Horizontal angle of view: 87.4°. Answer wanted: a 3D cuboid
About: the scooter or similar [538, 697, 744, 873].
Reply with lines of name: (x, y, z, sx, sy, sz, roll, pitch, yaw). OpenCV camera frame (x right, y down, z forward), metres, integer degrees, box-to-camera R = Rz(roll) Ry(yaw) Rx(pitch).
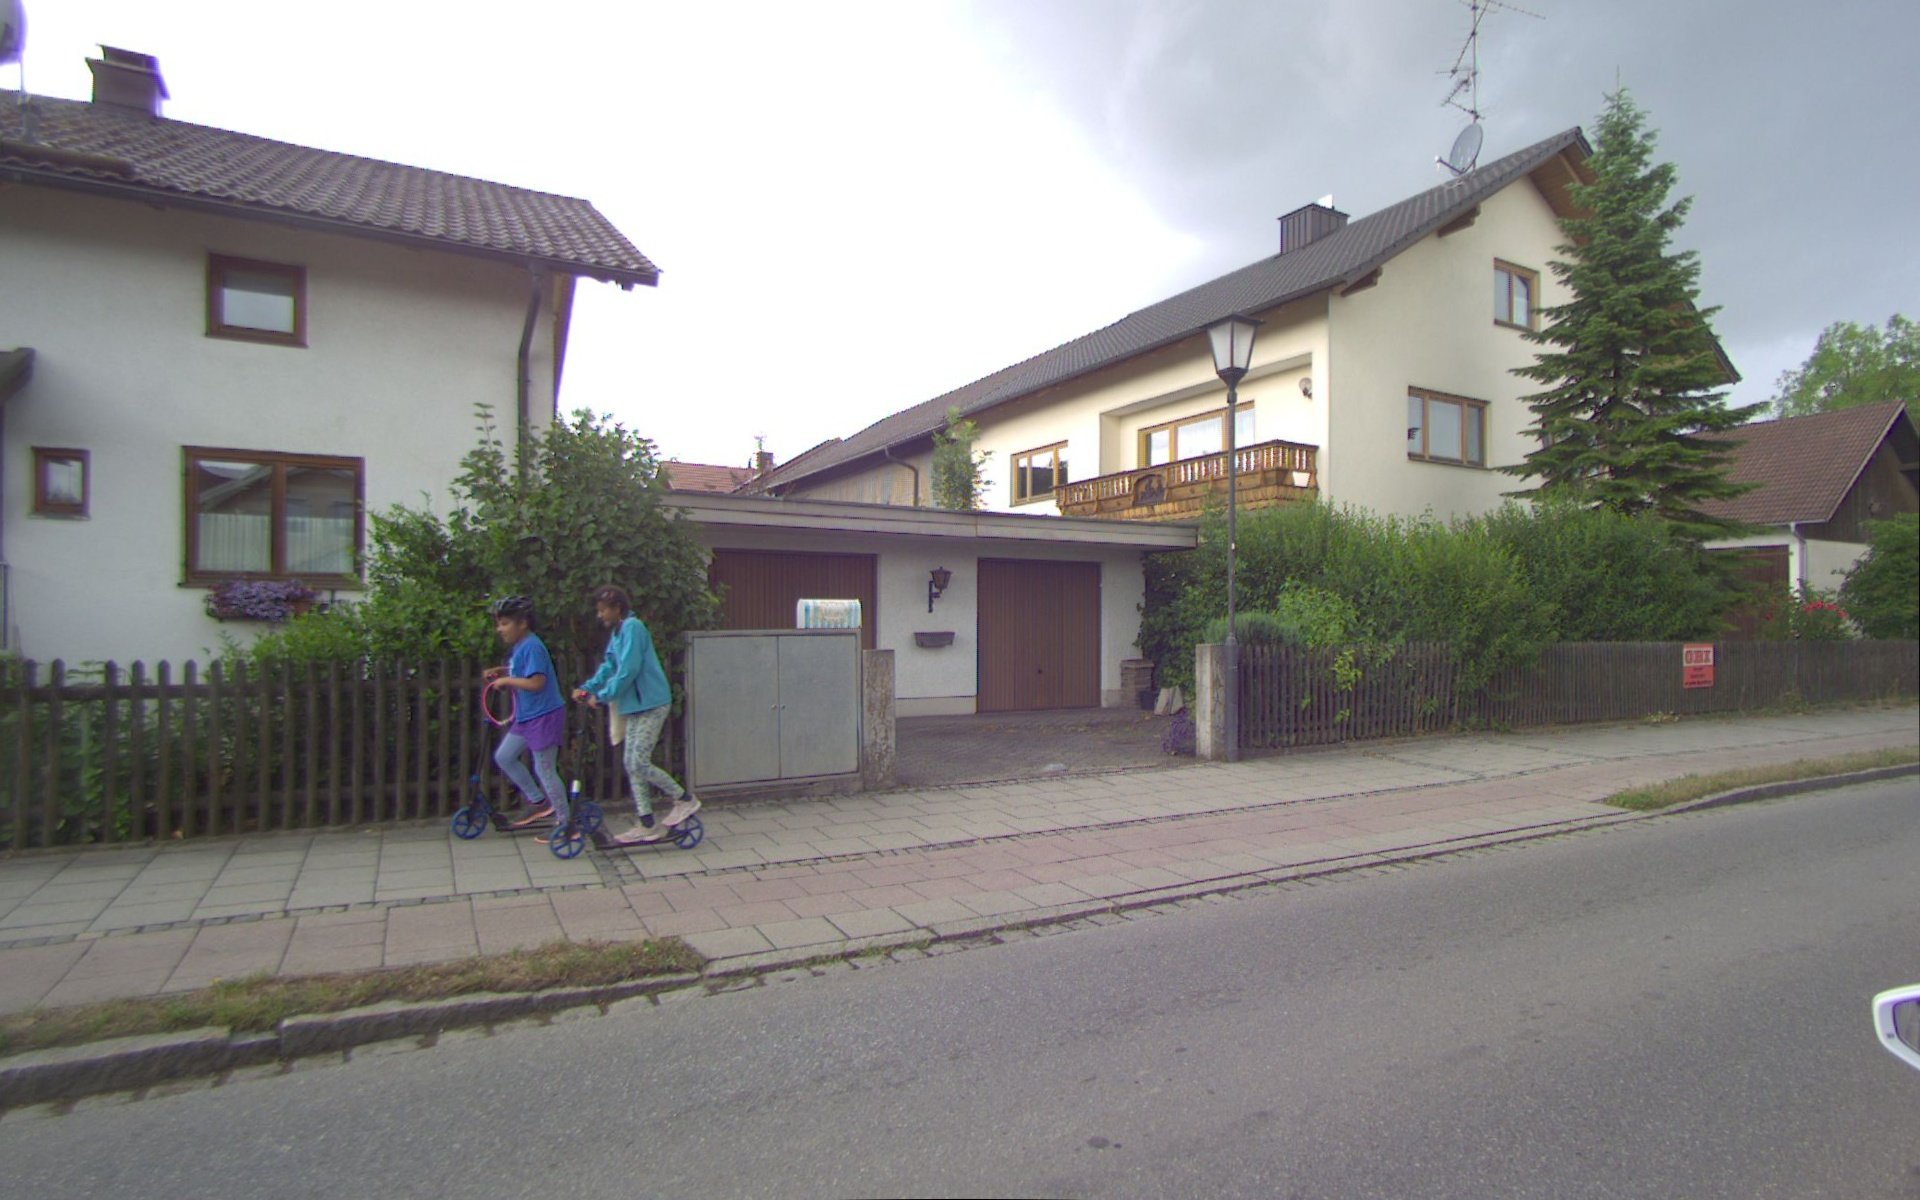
scooter or similar: (-1.843, 1.025, 5.810, 1.048, 0.861, 0.519, 1, -1, -29)

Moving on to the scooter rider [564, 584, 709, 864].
scooter rider: (-1.875, 0.674, 5.806, 0.707, 1.509, 0.501, 1, 0, -27)

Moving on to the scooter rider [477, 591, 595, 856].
scooter rider: (-2.578, 0.701, 6.088, 0.573, 1.492, 0.659, 1, 0, -29)

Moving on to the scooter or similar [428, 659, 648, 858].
scooter or similar: (-2.560, 0.904, 6.091, 1.164, 1.051, 0.658, 1, -1, -29)
